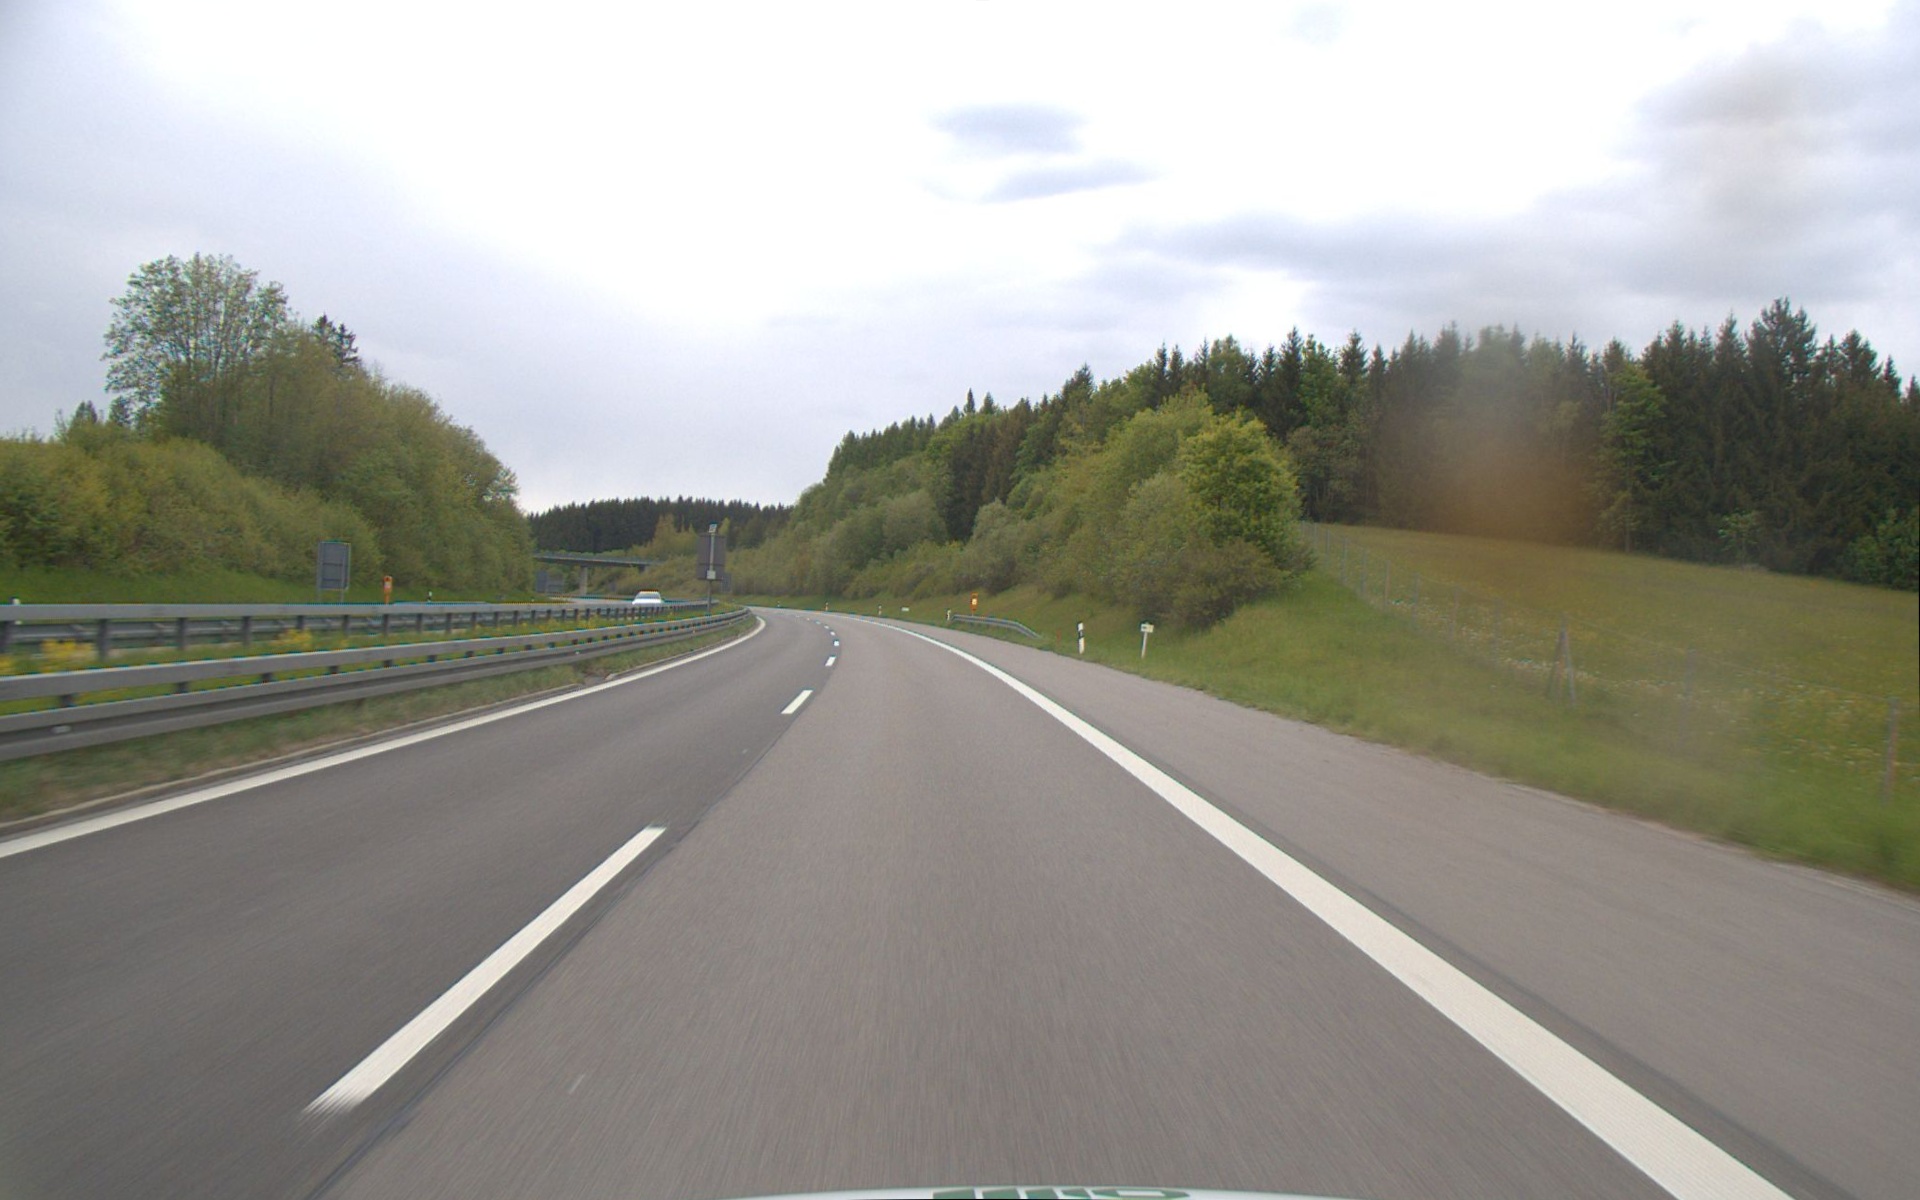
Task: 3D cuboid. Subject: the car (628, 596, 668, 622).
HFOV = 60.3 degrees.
[{"bbox_3d":[-19.125,0.533,101.589,1.955,1.454,4.457,4,0,-6],"label":"car"}]
